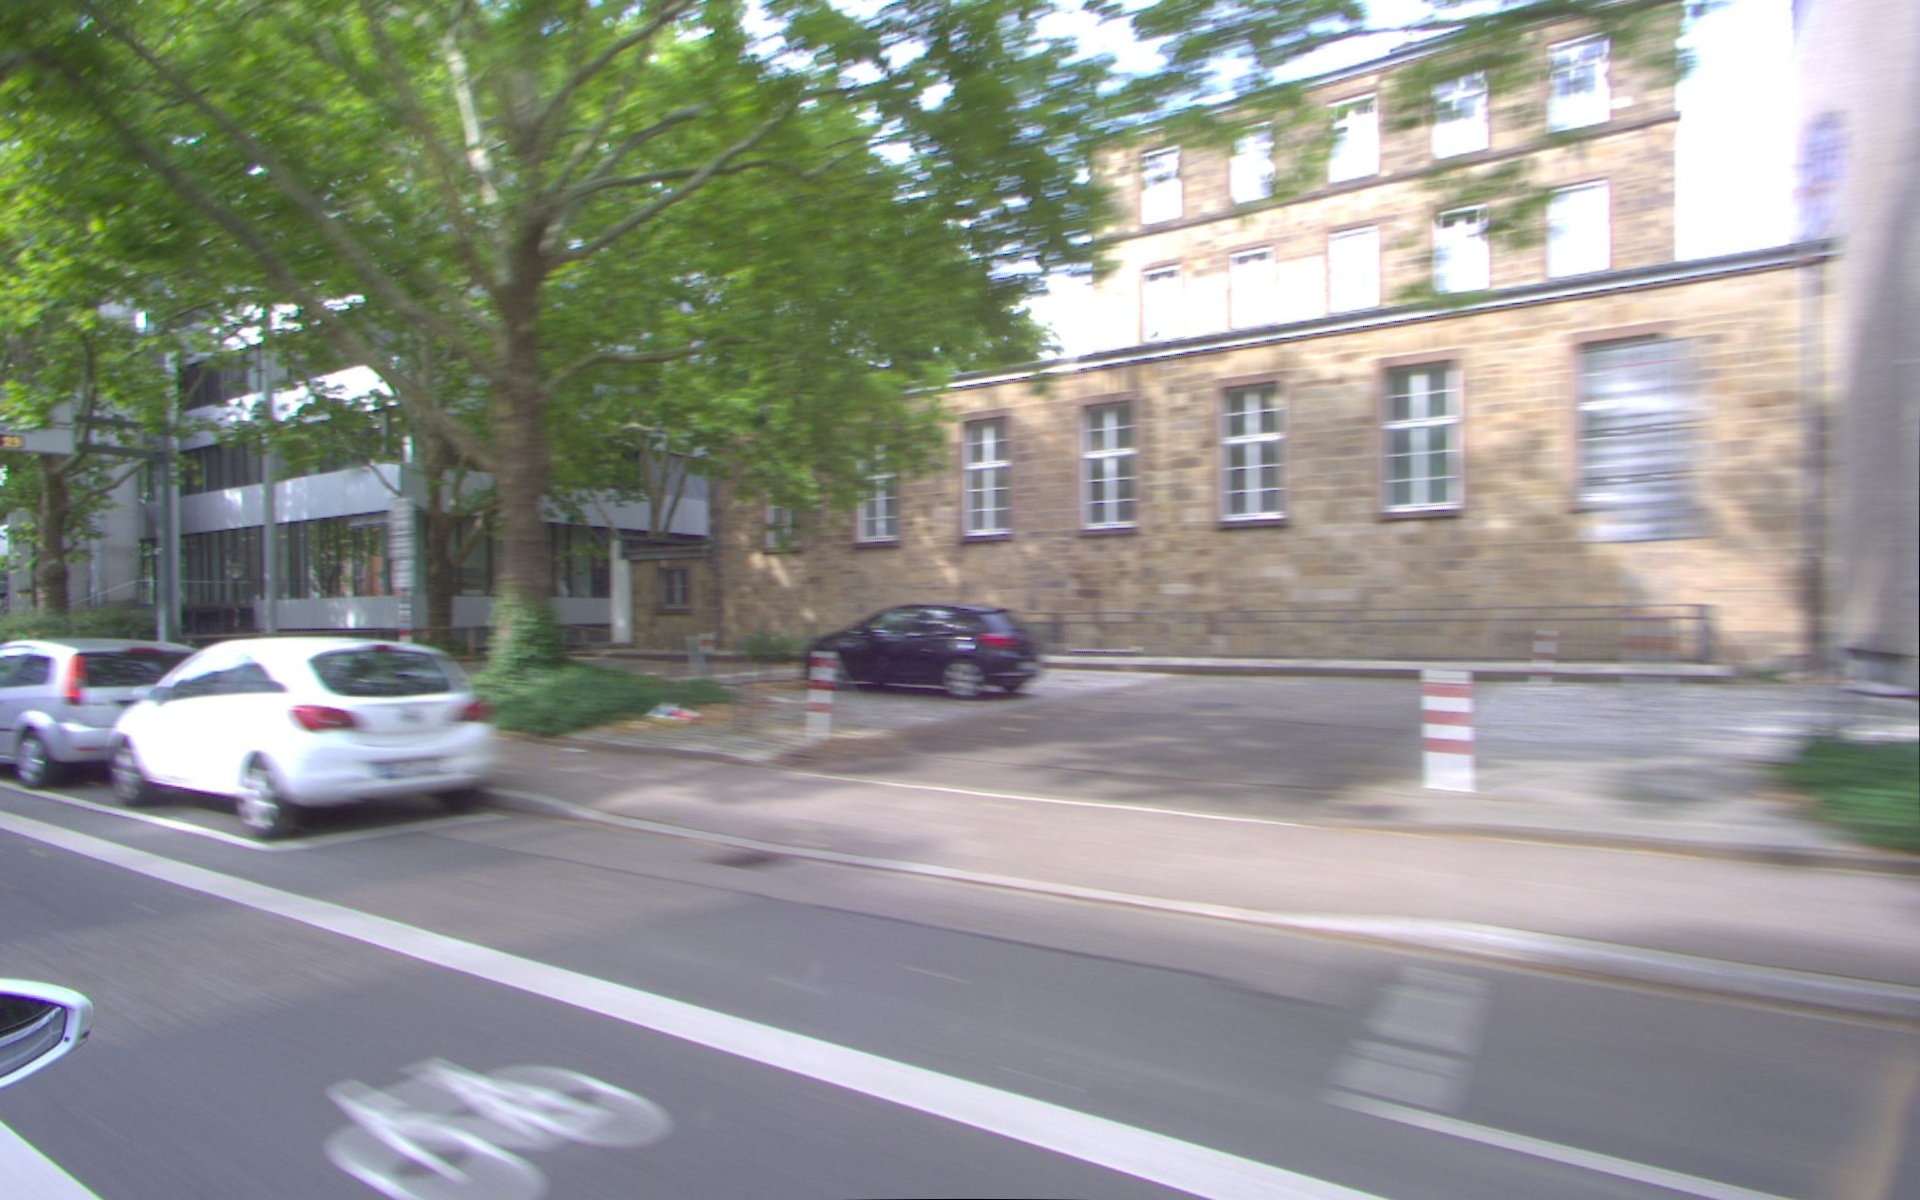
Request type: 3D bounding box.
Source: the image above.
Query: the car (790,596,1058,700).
[{"bbox_3d":[-0.651,0.734,16.725,4.232,1.469,1.667,2,0,30],"label":"car"}]

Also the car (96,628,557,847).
[{"bbox_3d":[-5.551,0.997,8.646,4.158,1.465,1.752,-1,-3,32],"label":"car"}]

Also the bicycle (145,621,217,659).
[{"bbox_3d":[-24.503,1.234,31.518,0.595,1.132,1.673,0,0,25],"label":"bicycle"}]

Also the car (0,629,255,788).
[{"bbox_3d":[-9.686,1.063,10.938,3.821,1.465,1.643,0,-2,27],"label":"car"}]
